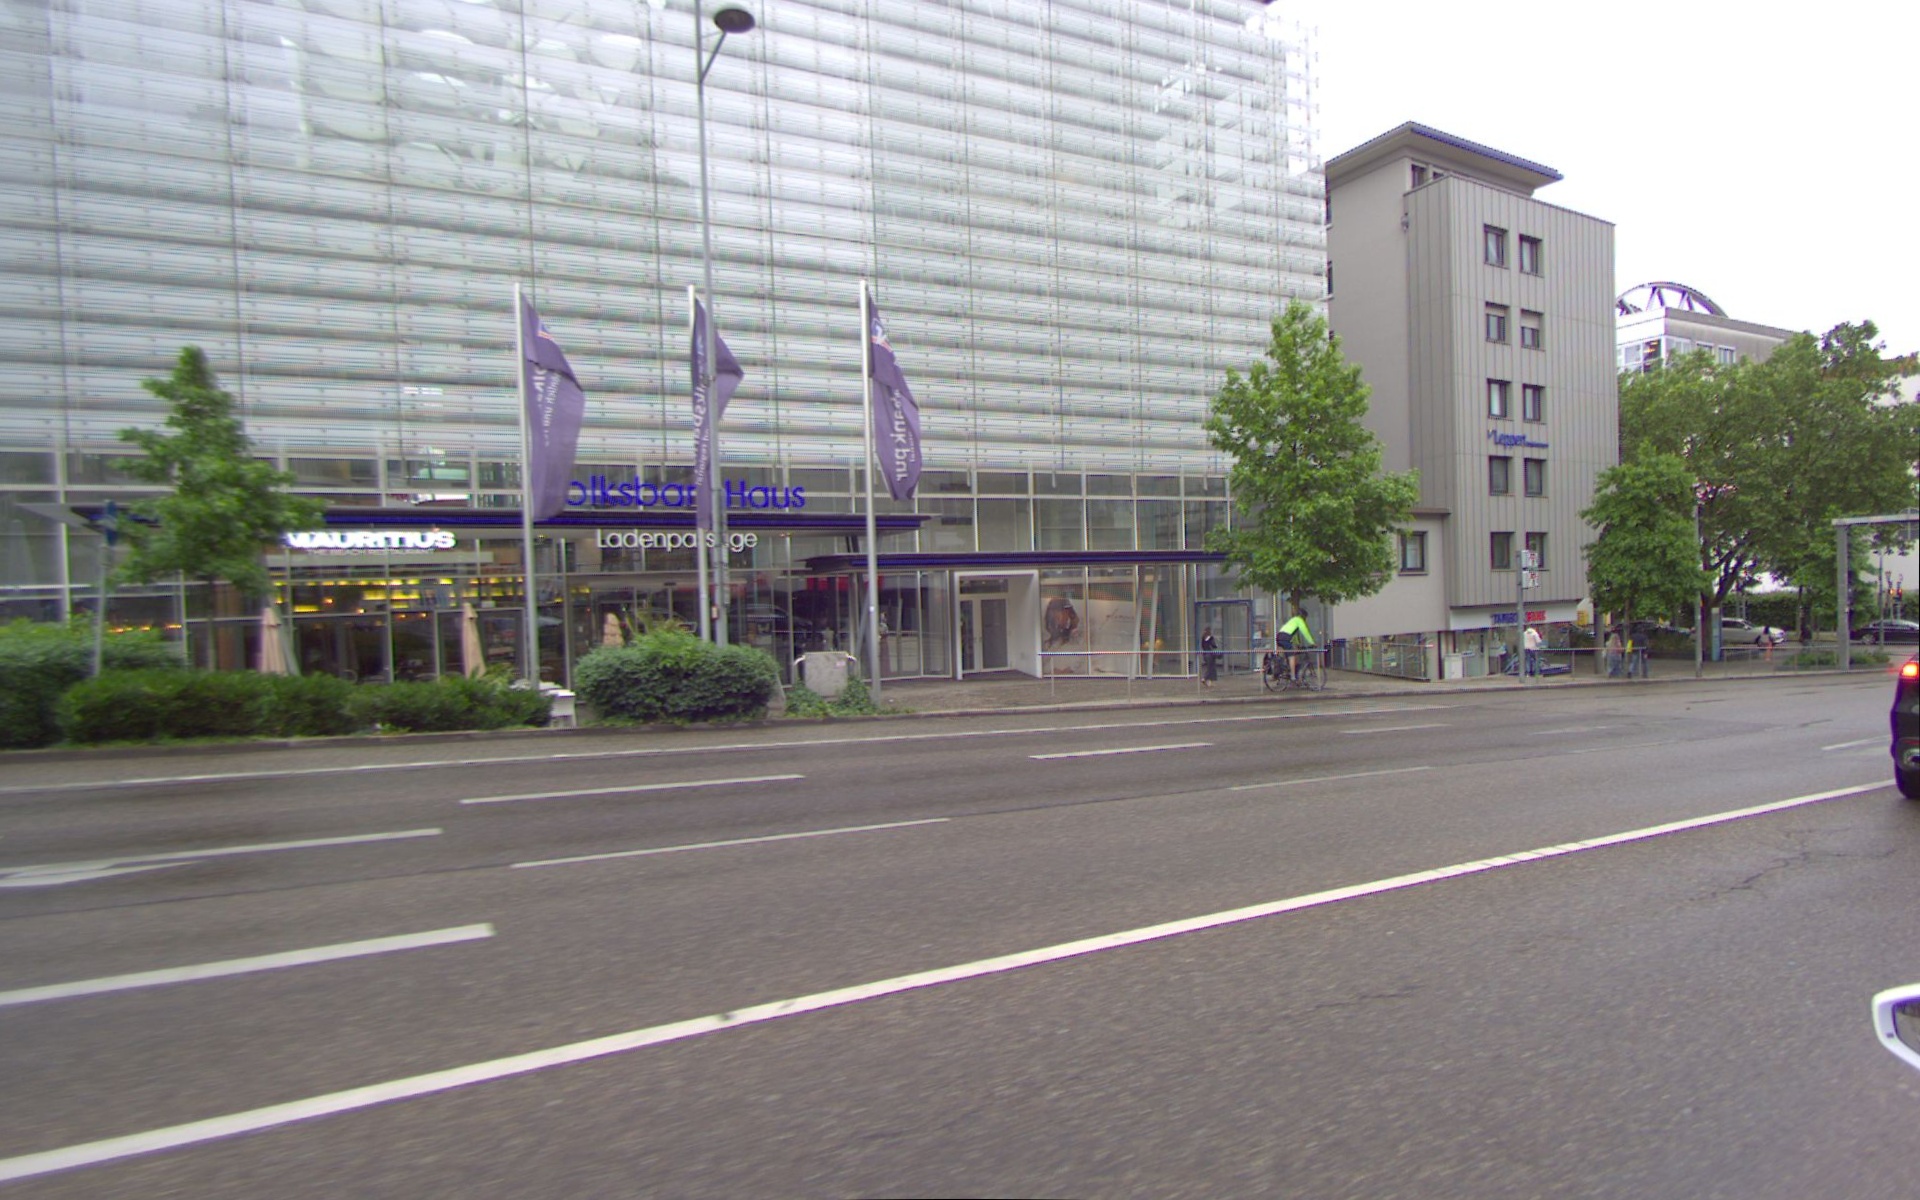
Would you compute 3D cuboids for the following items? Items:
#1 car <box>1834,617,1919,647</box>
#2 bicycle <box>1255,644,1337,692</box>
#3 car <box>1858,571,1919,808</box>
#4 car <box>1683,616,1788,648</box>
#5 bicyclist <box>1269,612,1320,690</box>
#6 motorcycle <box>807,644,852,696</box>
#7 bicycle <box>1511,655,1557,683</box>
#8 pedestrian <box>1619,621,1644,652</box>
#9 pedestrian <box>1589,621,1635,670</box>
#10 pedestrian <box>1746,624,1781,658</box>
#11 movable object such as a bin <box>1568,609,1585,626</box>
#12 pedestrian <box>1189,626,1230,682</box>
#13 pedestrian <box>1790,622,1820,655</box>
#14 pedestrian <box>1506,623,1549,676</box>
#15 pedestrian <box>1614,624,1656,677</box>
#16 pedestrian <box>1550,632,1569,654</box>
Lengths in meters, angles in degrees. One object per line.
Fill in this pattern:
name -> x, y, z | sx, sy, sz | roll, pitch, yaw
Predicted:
car -> 55.437, 1.907, 60.104 | 4.631, 1.665, 1.777 | 2, 0, 43
bicycle -> 8.196, 1.643, 24.481 | 2.044, 1.114, 0.676 | 2, -2, -27
car -> 9.836, 0.745, 8.511 | 4.740, 1.841, 2.076 | 1, 1, -32
car -> 48.805, 1.993, 63.279 | 1.987, 1.782, 5.020 | 1, 0, -44
bicyclist -> 8.143, 1.233, 24.466 | 0.978, 1.854, 0.666 | 1, -2, -27
motorcycle -> -3.521, 1.869, 26.982 | 0.759, 1.312, 1.542 | 1, -1, -25
bicycle -> 24.733, 2.958, 43.251 | 2.642, 1.101, 0.608 | 1, -1, -34
pedestrian -> 38.319, 2.077, 57.307 | 0.937, 1.745, 0.756 | 0, -1, -20
pedestrian -> 23.762, 1.655, 36.630 | 1.075, 1.745, 0.970 | 0, -1, -26
pedestrian -> 42.711, 2.159, 53.386 | 0.996, 1.745, 0.951 | -2, -2, -6
movable object such as a bin -> 53.981, 1.518, 87.985 | 0.593, 1.465, 1.107 | 1, -2, -28
pedestrian -> 6.656, 1.438, 26.856 | 0.833, 1.475, 0.650 | 0, -1, -26
pedestrian -> 45.296, 2.076, 53.870 | 0.747, 1.745, 0.949 | 0, -1, -13
pedestrian -> 19.234, 1.672, 34.039 | 1.031, 1.745, 0.983 | 1, -2, -43
pedestrian -> 22.316, 1.653, 33.190 | 1.302, 1.735, 0.809 | 1, -2, -40
pedestrian -> 36.666, 2.626, 61.429 | 0.935, 1.289, 0.758 | -1, -2, 31
